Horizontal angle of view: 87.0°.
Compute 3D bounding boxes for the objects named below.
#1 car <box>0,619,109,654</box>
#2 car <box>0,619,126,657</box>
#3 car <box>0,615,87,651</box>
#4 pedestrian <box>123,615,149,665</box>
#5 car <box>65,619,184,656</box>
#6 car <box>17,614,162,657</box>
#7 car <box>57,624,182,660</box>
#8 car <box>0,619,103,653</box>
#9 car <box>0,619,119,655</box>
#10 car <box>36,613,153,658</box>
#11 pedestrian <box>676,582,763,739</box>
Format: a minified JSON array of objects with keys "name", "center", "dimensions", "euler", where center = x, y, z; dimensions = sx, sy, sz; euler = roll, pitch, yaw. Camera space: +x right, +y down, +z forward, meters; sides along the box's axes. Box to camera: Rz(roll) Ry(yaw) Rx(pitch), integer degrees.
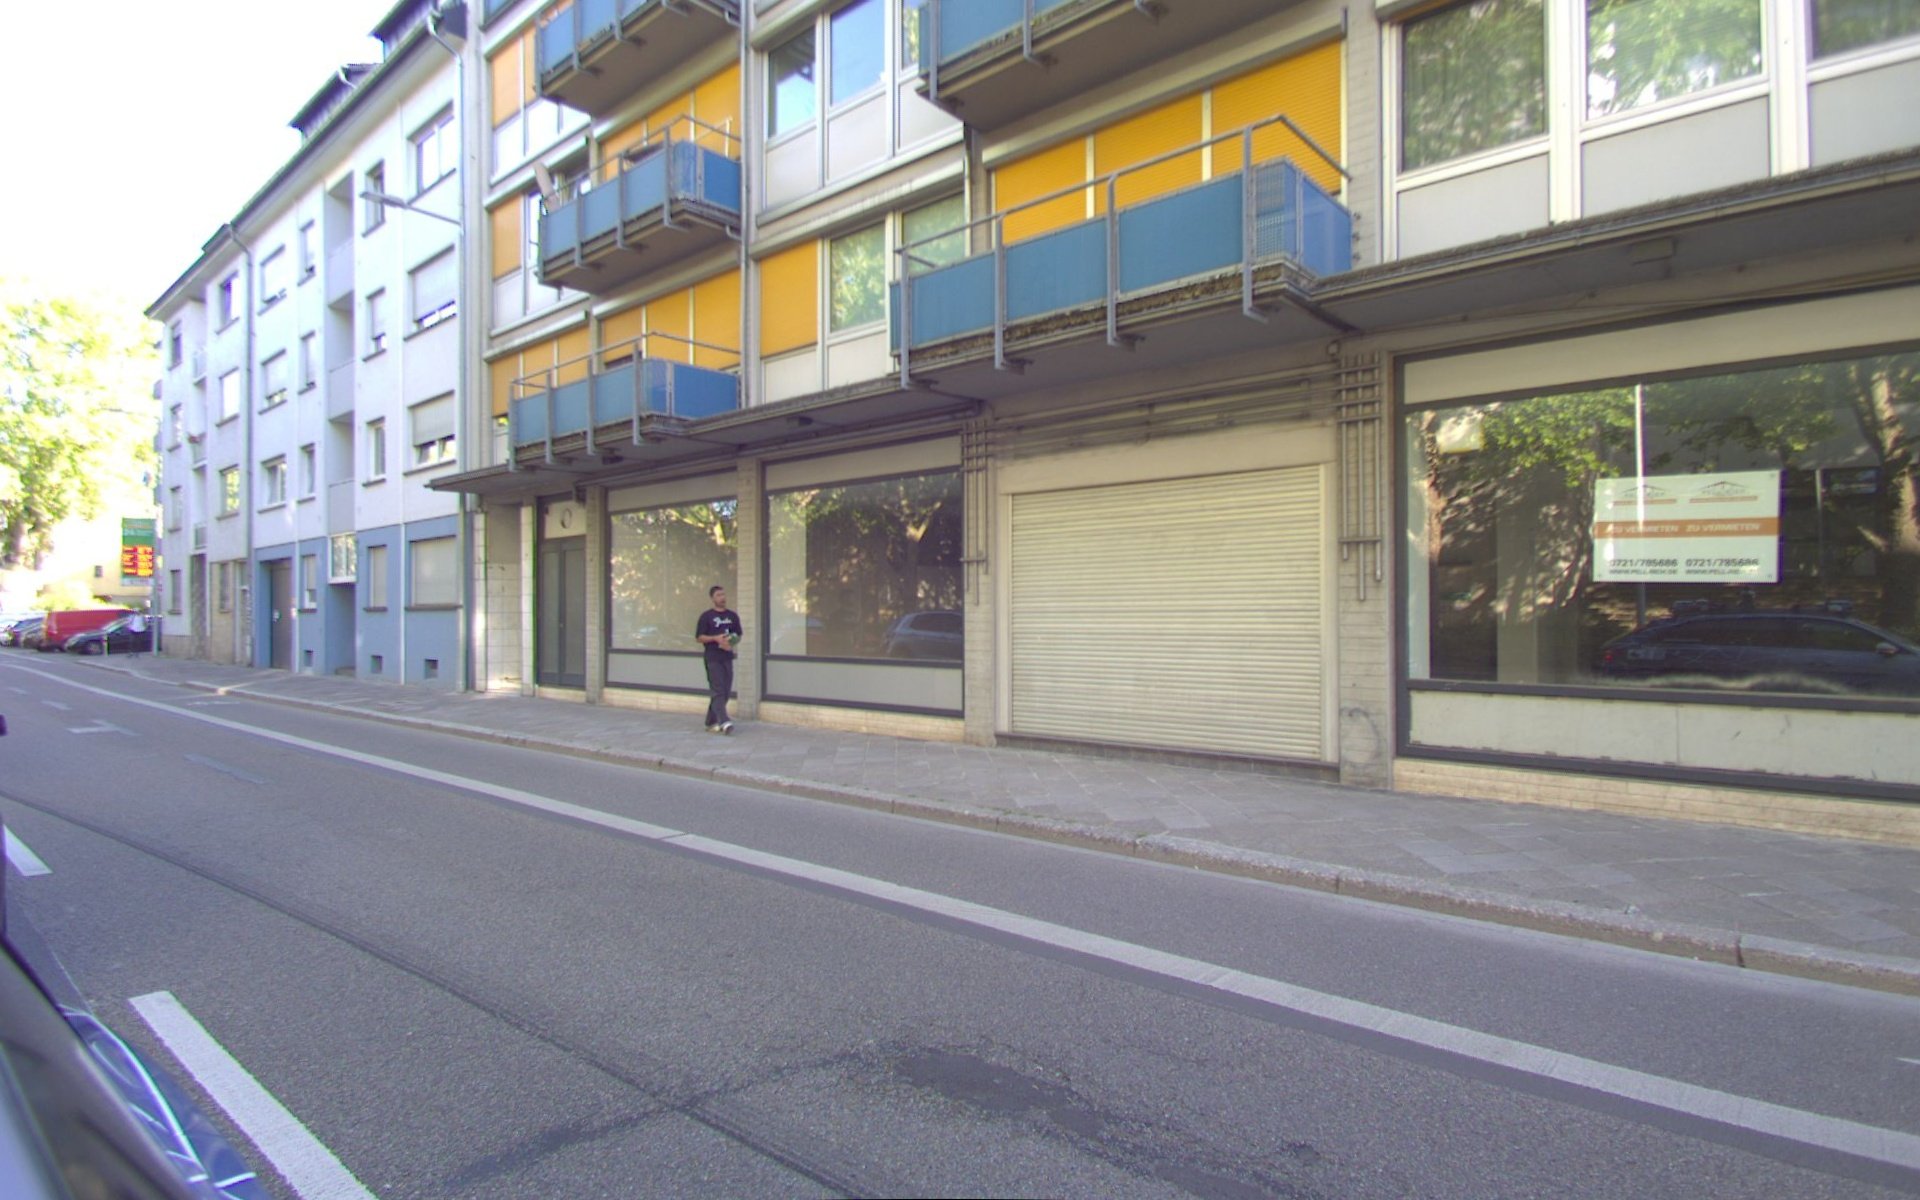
[{"name":"car","center":[-54.117,2.128,60.356],"dimensions":[2.082,1.952,4.928],"euler":[-1,-1,41]},{"name":"car","center":[-50.292,2.084,56.831],"dimensions":[2.186,1.952,5.077],"euler":[-1,-1,41]},{"name":"car","center":[-59.339,2.095,64.714],"dimensions":[2.186,2.164,5.077],"euler":[-1,-1,41]},{"name":"pedestrian","center":[-29.623,1.423,36.374],"dimensions":[0.756,1.760,0.600],"euler":[-1,0,41]},{"name":"car","center":[-37.871,1.676,45.944],"dimensions":[1.742,1.572,3.946],"euler":[-1,-1,41]},{"name":"car","center":[-42.685,1.698,49.715],"dimensions":[2.256,1.995,5.156],"euler":[-1,-1,41]},{"name":"car","center":[-36.547,1.785,44.078],"dimensions":[1.742,1.431,3.946],"euler":[-1,-1,41]},{"name":"car","center":[-55.965,2.155,61.988],"dimensions":[2.314,1.952,4.978],"euler":[-1,-1,41]},{"name":"car","center":[-52.231,2.106,58.719],"dimensions":[2.159,1.952,4.990],"euler":[-1,-1,41]},{"name":"car","center":[-40.584,1.631,47.517],"dimensions":[1.866,1.952,3.946],"euler":[-1,-1,41]},{"name":"pedestrian","center":[-2.869,0.696,12.058],"dimensions":[0.793,1.785,0.655],"euler":[-1,-1,41]}]
